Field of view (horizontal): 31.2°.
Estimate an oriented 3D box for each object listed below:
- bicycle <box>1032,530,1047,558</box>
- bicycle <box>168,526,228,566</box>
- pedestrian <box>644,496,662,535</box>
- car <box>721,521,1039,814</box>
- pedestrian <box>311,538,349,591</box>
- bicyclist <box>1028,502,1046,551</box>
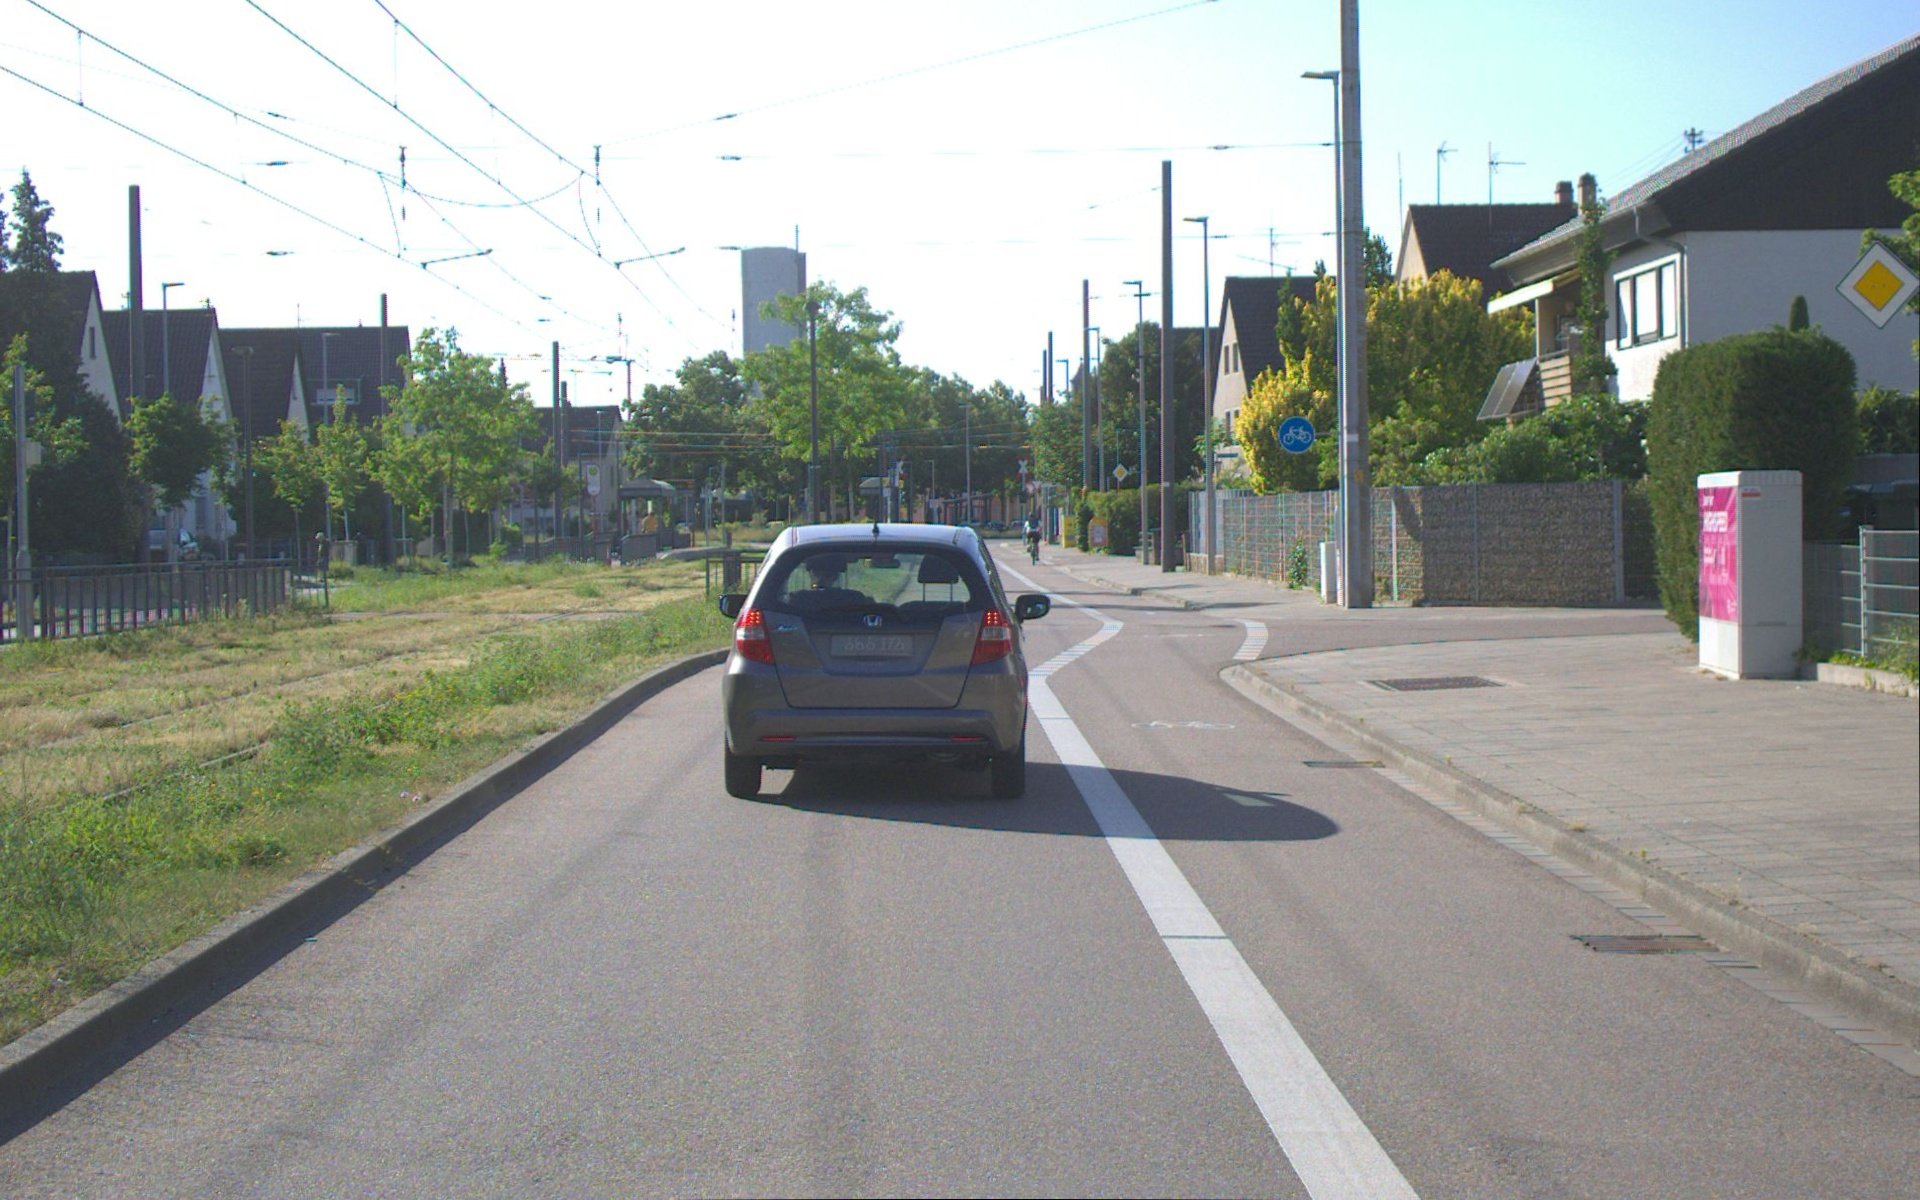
[{"bbox_3d":[2.730,-1.936,118.634,0.475,0.958,1.657,0,1,0],"label":"bicycle"},{"bbox_3d":[-27.142,-1.922,122.481,1.988,1.361,0.705,-1,1,-7],"label":"bicycle"},{"bbox_3d":[-12.063,-3.315,135.099,0.675,1.530,0.749,-1,1,-5],"label":"pedestrian"},{"bbox_3d":[-0.490,0.322,20.050,1.670,1.530,3.487,1,1,-2],"label":"car"},{"bbox_3d":[-19.556,-1.107,106.749,0.965,1.635,1.086,-1,1,-1],"label":"pedestrian"},{"bbox_3d":[2.643,-2.536,118.356,0.598,1.695,0.683,0,1,0],"label":"bicyclist"}]
